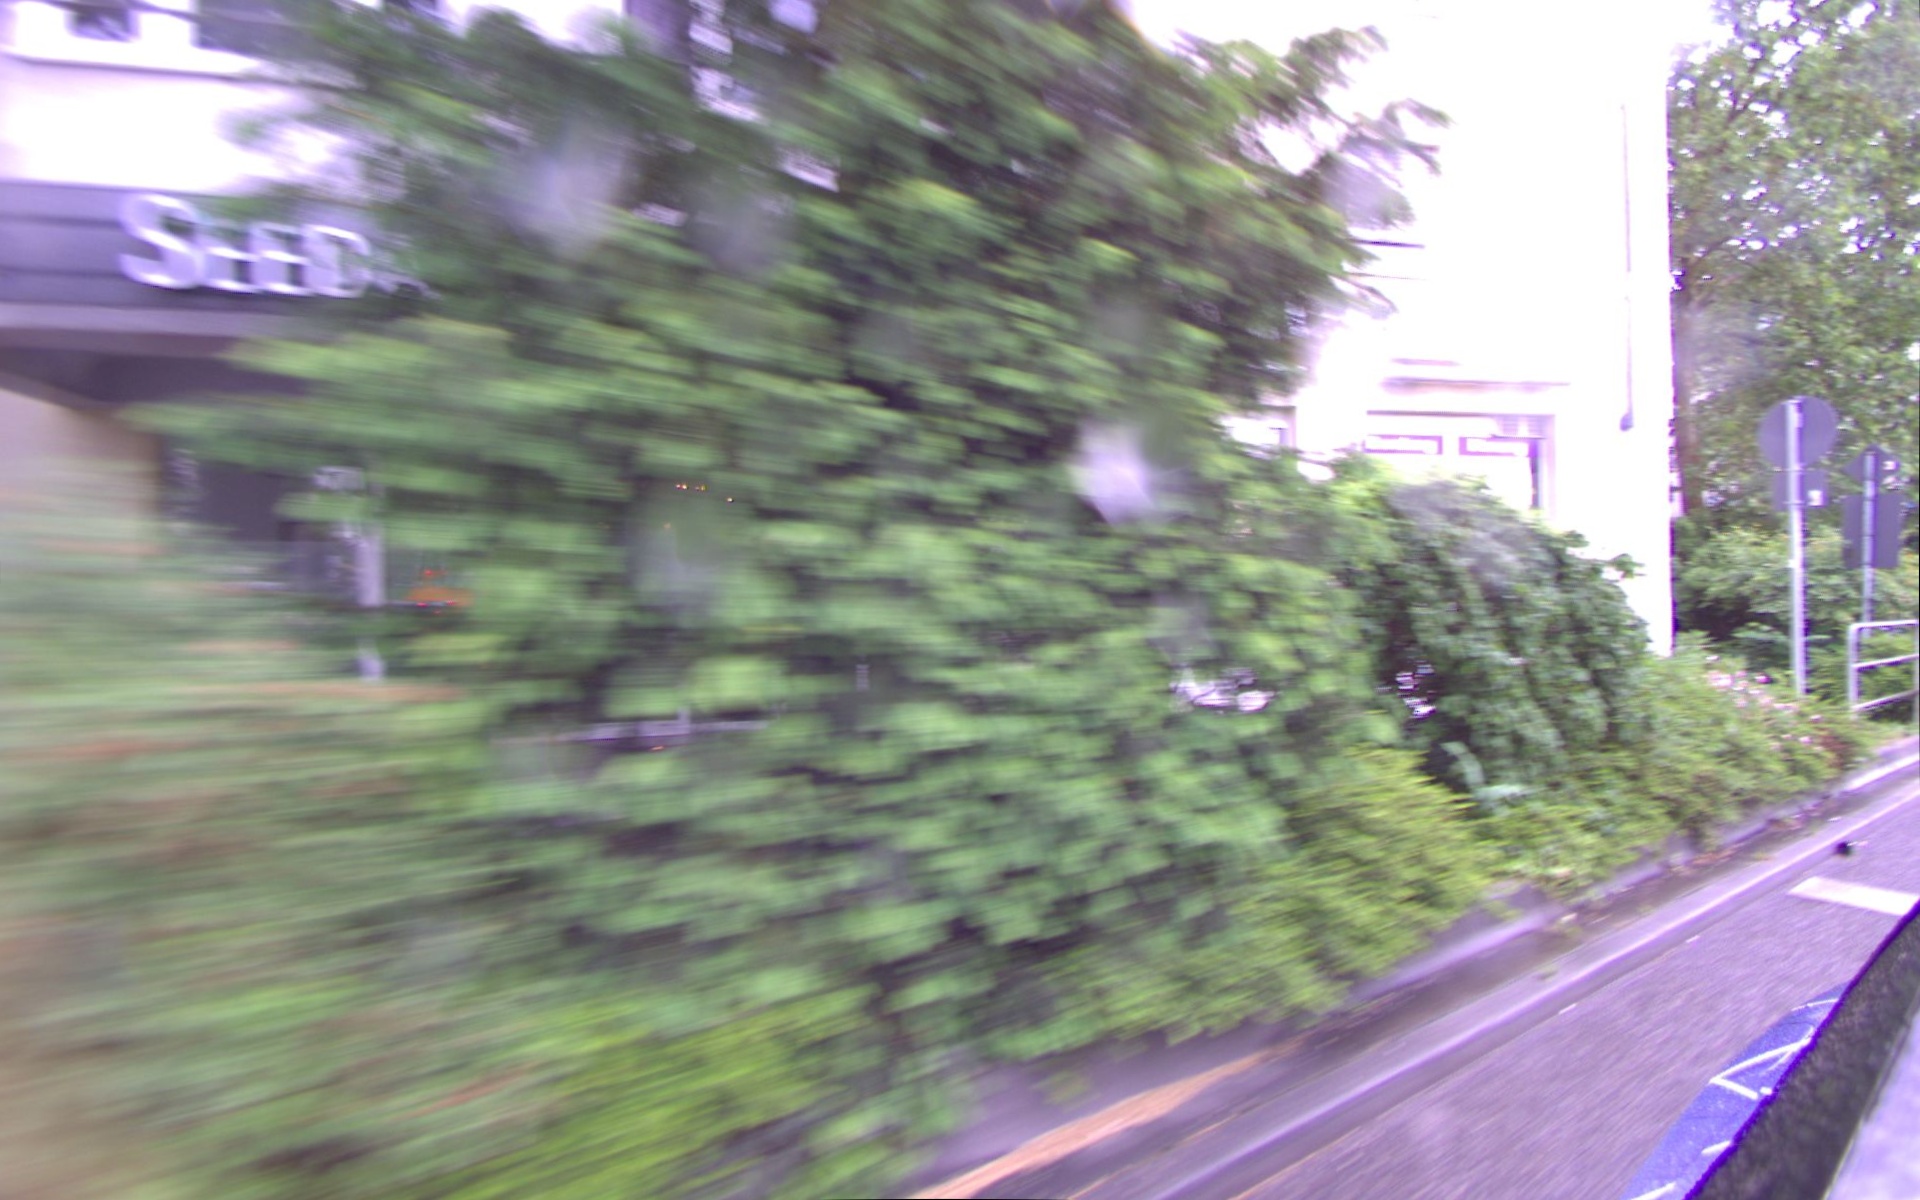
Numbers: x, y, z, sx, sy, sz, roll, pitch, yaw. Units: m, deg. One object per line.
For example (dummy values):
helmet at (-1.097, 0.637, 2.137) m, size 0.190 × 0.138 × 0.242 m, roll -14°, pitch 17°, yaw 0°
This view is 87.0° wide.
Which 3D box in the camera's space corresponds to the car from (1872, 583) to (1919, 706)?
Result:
car at (16.196, 0.660, 15.771) m, size 4.643 × 1.803 × 1.937 m, roll 0°, pitch 0°, yaw -35°
